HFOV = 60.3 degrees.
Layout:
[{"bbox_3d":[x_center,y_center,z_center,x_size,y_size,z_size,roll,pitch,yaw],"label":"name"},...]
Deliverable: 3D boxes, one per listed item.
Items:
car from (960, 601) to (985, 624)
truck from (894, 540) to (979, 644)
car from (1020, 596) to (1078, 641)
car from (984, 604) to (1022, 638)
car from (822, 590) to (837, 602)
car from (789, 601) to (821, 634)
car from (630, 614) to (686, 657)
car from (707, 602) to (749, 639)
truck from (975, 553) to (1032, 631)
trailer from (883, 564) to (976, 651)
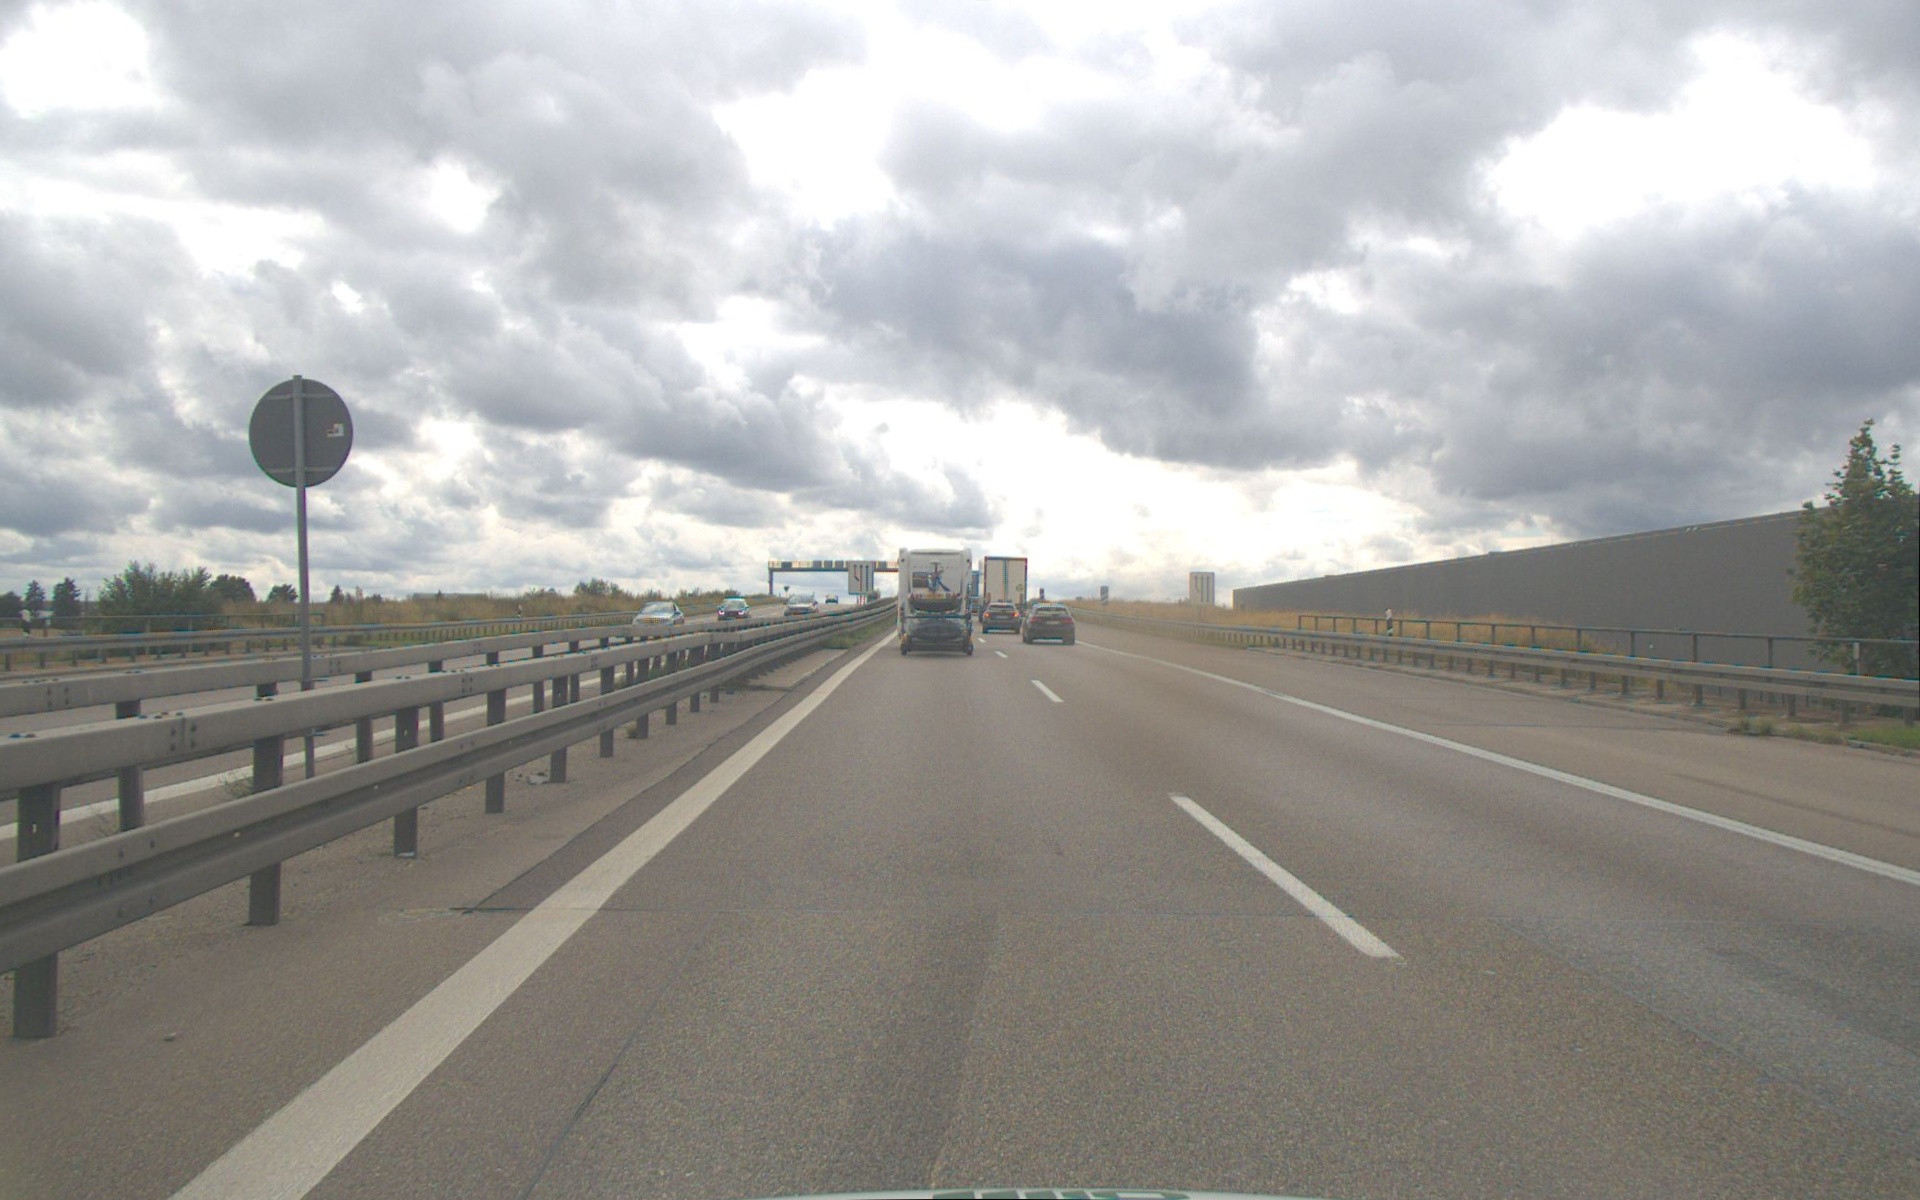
[{"bbox_3d":[0.998,1.008,134.101,1.953,1.788,3.999,0,-1,-1],"label":"car"},{"bbox_3d":[-0.694,-0.183,50.644,2.431,3.002,5.813,0,-1,0],"label":"truck"},{"bbox_3d":[3.297,0.704,61.746,1.844,1.649,3.998,0,-1,-1],"label":"car"},{"bbox_3d":[2.020,0.998,78.418,1.657,1.547,3.999,0,-1,0],"label":"car"},{"bbox_3d":[-19.110,-0.584,242.276,1.900,1.713,3.999,1,0,-1],"label":"car"},{"bbox_3d":[-9.428,1.074,100.769,1.679,1.932,3.999,0,-1,-1],"label":"car"},{"bbox_3d":[-13.129,1.528,72.088,1.716,1.817,3.999,0,-1,-1],"label":"car"},{"bbox_3d":[-13.014,1.147,92.852,1.855,2.049,3.999,0,-1,-1],"label":"car"},{"bbox_3d":[2.583,-0.414,100.695,3.180,4.605,7.064,0,-1,-1],"label":"truck"},{"bbox_3d":[-0.747,0.219,43.540,2.290,2.174,4.000,0,-1,1],"label":"trailer"}]
